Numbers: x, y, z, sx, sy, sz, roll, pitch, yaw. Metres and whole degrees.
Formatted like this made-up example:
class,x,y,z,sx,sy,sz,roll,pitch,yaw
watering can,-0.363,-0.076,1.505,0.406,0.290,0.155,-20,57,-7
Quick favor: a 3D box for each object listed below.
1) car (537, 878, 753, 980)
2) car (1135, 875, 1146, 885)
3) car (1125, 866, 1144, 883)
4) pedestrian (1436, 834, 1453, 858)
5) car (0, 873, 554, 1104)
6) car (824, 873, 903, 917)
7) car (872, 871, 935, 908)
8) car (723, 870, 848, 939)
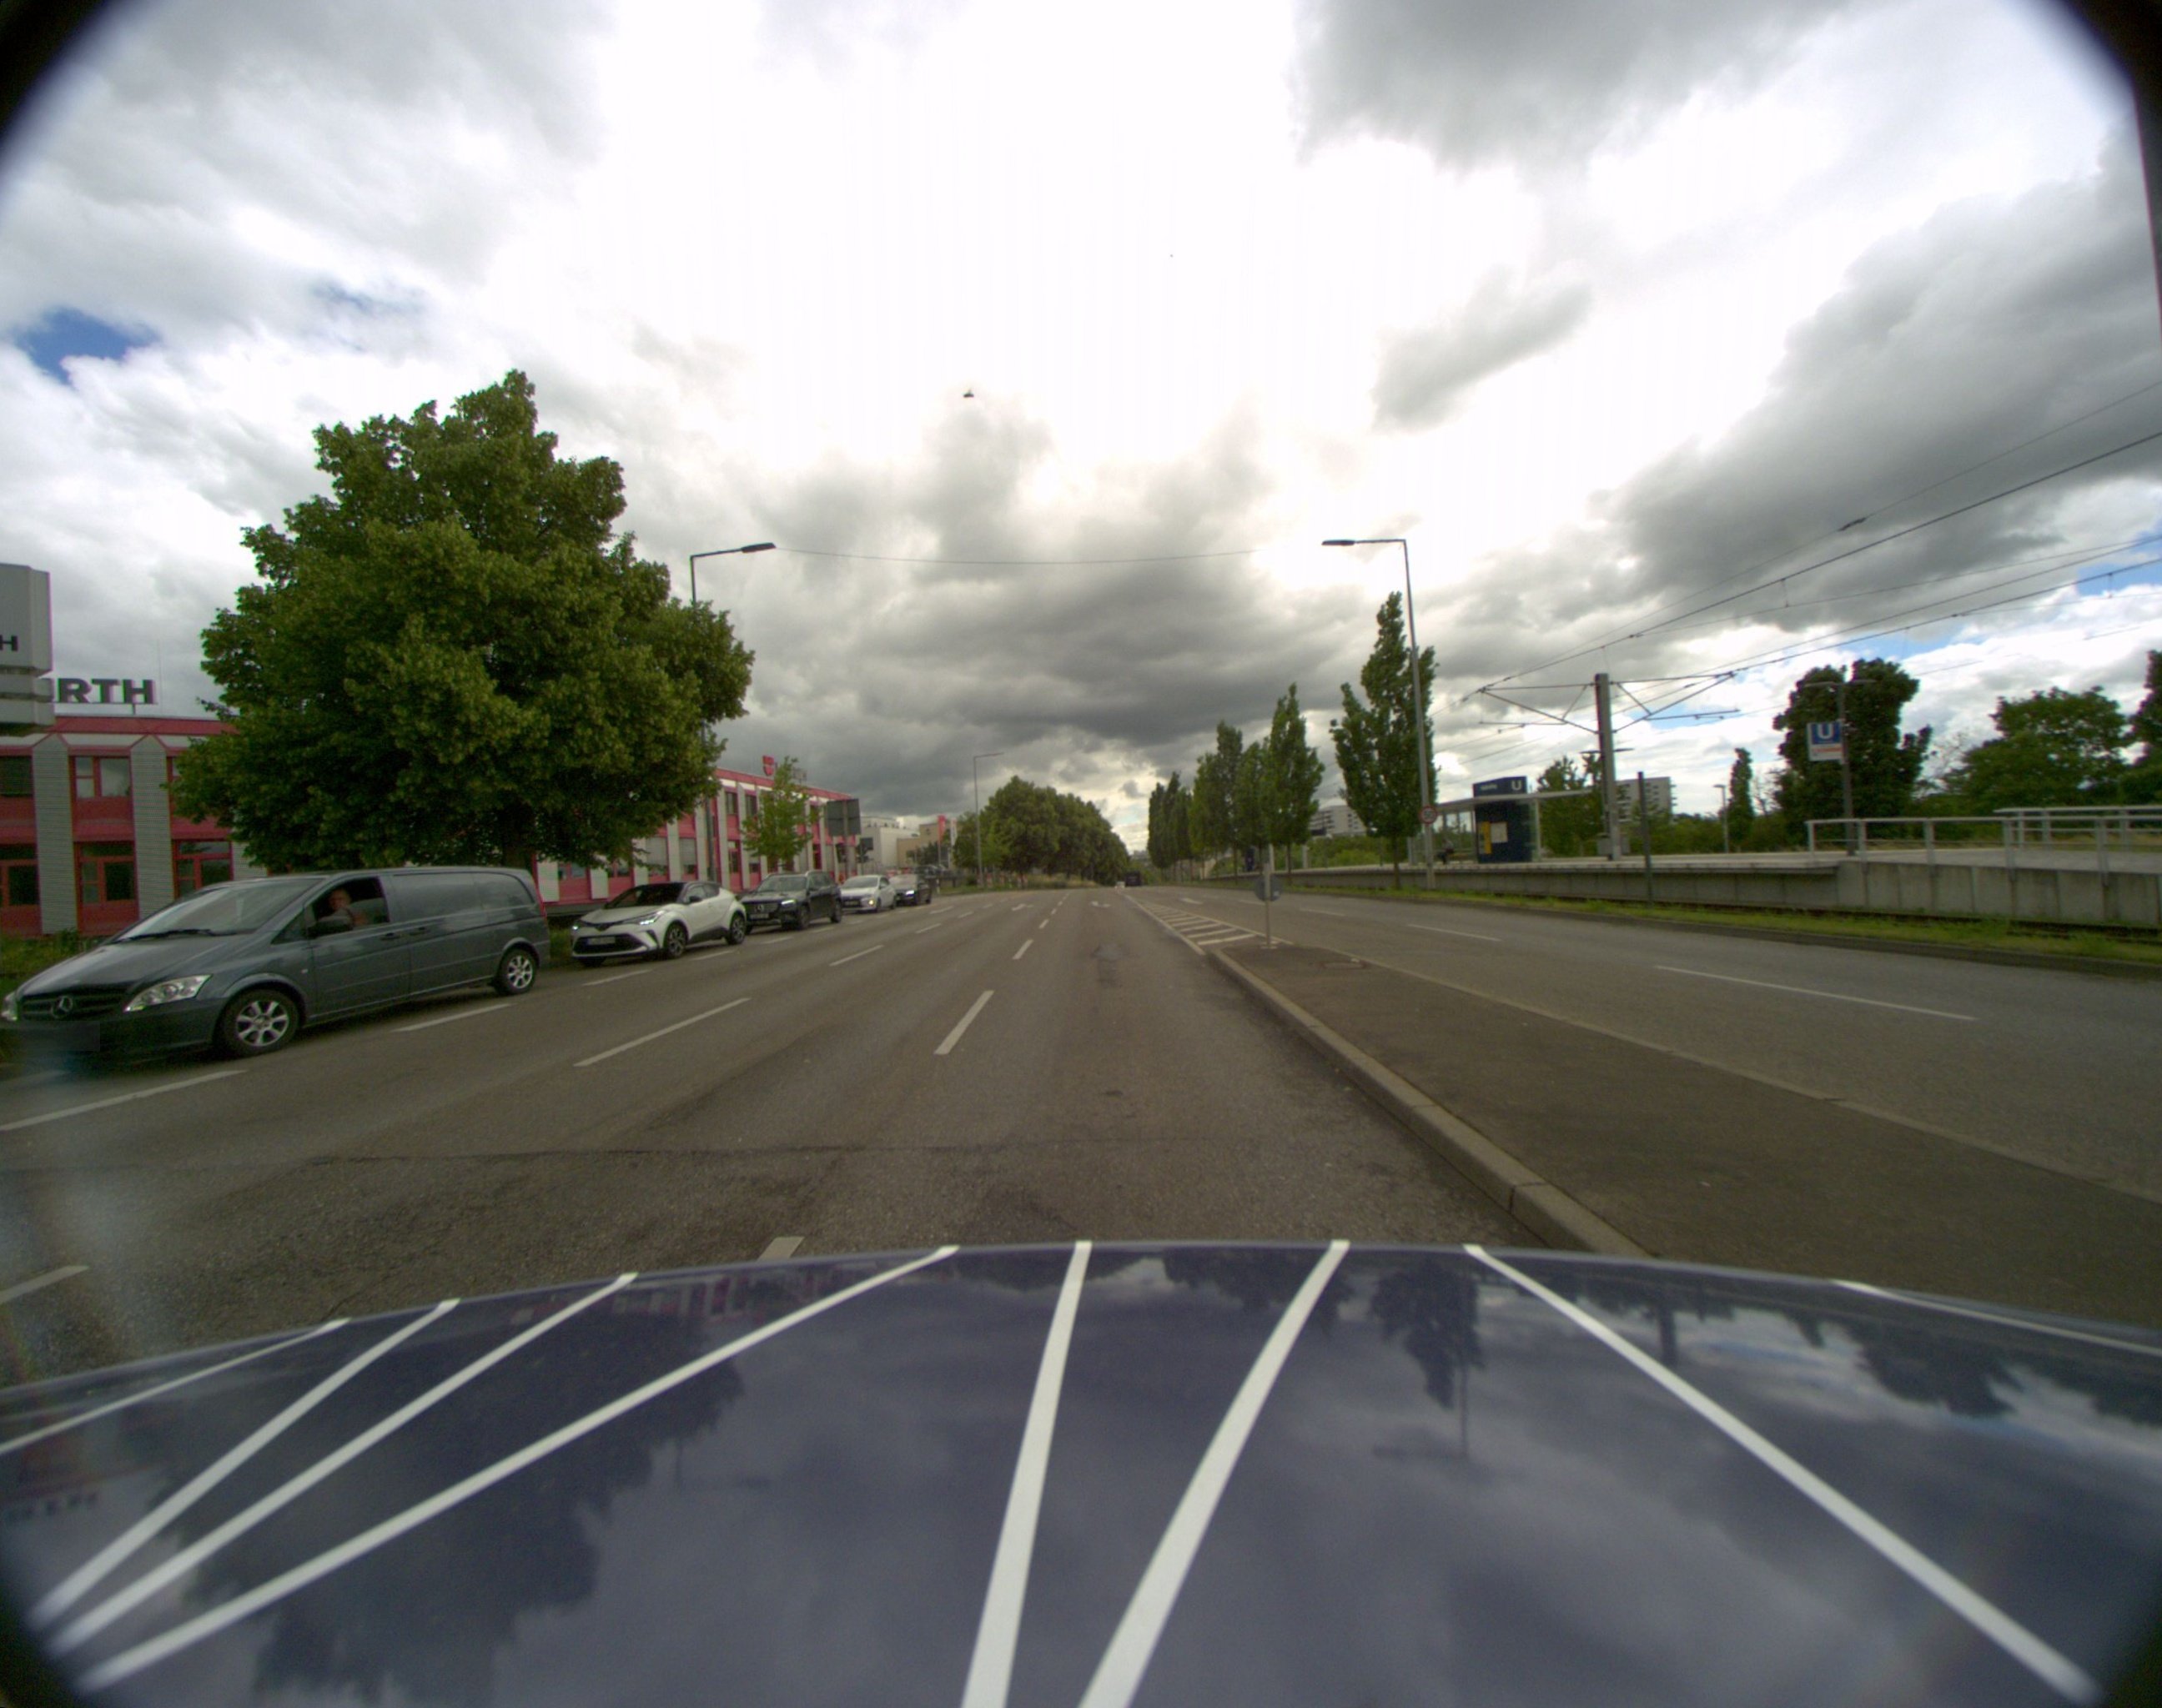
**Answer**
class,x,y,z,sx,sy,sz,roll,pitch,yaw
car,-8.593,1.389,15.486,1.844,1.507,4.106,-6,0,1
car,10.213,4.391,129.810,1.740,1.499,3.661,-2,0,3
car,6.092,2.286,87.074,1.892,1.802,5.093,-2,-1,1
pedestrian,17.578,-0.402,36.764,0.601,1.148,0.447,-2,1,1
car,-8.769,1.223,8.823,1.763,1.764,4.675,-5,0,2
car,-8.509,1.567,30.101,1.763,1.431,4.370,-3,0,0
car,-8.082,1.573,35.002,1.763,1.431,4.370,-3,0,0
car,-8.444,1.380,22.159,1.865,1.648,4.209,-4,-1,1
